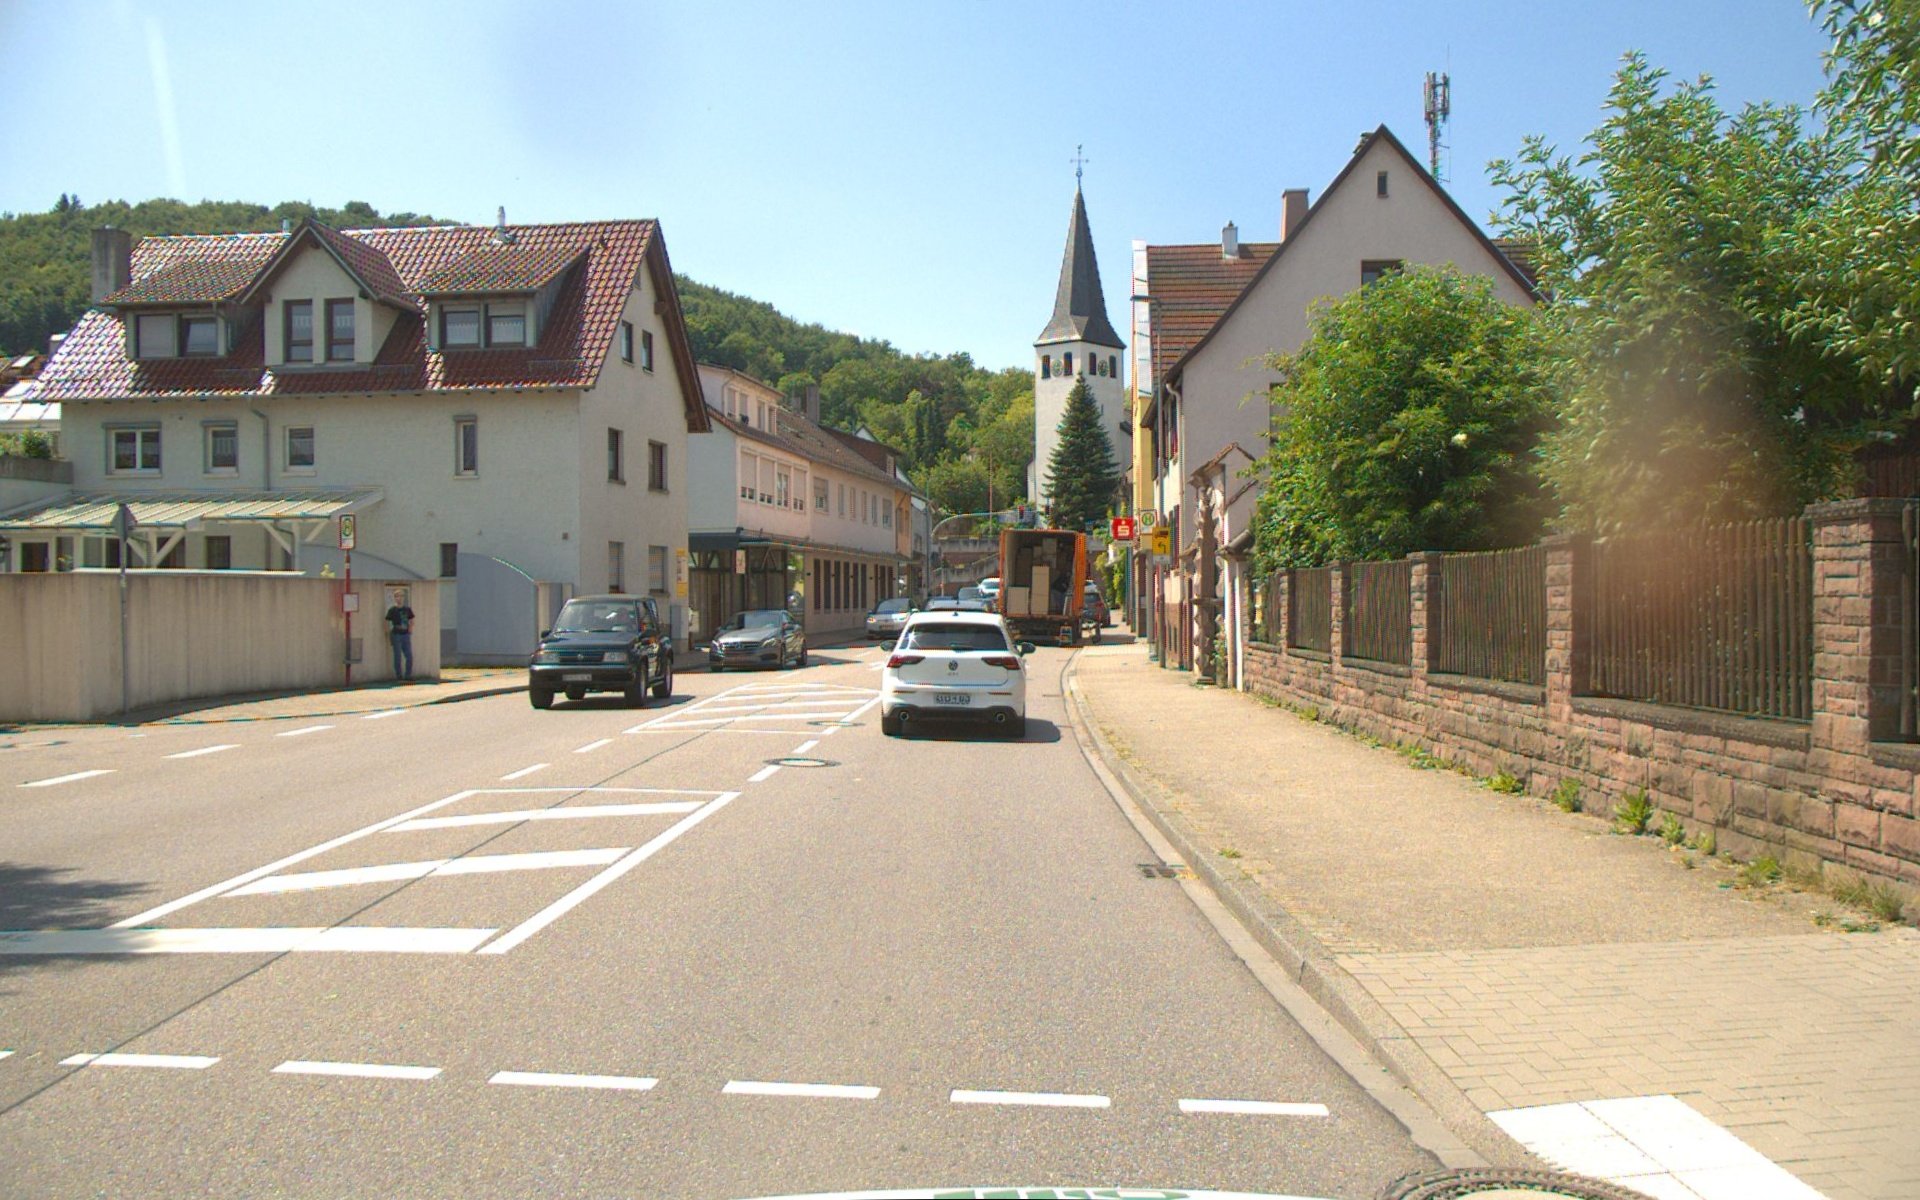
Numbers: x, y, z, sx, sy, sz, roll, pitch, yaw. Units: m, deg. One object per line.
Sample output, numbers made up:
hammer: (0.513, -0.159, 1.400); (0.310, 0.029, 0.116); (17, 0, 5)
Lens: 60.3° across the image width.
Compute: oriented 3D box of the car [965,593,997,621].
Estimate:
car: (1.511, 0.459, 116.003); (1.763, 1.811, 4.708); (-2, 0, 6)

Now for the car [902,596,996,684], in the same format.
car: (-0.187, 0.810, 34.171); (1.778, 1.657, 4.000); (-2, -1, 1)

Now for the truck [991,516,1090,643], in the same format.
truck: (3.019, -0.646, 61.374); (3.296, 4.243, 9.522); (-2, -1, 3)

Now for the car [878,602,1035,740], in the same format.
car: (-0.007, 0.835, 20.848); (1.778, 1.546, 4.000); (1, -1, 1)

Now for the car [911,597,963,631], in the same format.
car: (-1.058, 0.661, 78.797); (1.755, 1.519, 4.424); (-2, -1, 9)

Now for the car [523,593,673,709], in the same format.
car: (-5.571, 0.742, 25.857); (1.704, 1.680, 3.666); (0, 0, -3)

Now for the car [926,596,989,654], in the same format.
car: (-0.042, 0.763, 50.441); (1.778, 1.657, 4.000); (-2, -1, 1)

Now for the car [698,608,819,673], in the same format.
car: (-4.903, 0.969, 40.840); (1.823, 1.467, 4.220); (-2, -1, 9)

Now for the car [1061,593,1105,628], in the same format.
car: (5.649, 0.498, 76.370); (1.778, 1.545, 4.000); (-2, -1, 1)

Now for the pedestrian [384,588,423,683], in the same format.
pedestrian: (-10.637, 0.676, 31.627); (0.425, 1.795, 0.557); (-1, 0, 20)

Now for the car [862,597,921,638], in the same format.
car: (-2.676, 0.698, 65.577); (1.757, 1.534, 4.136); (-2, -1, 5)
